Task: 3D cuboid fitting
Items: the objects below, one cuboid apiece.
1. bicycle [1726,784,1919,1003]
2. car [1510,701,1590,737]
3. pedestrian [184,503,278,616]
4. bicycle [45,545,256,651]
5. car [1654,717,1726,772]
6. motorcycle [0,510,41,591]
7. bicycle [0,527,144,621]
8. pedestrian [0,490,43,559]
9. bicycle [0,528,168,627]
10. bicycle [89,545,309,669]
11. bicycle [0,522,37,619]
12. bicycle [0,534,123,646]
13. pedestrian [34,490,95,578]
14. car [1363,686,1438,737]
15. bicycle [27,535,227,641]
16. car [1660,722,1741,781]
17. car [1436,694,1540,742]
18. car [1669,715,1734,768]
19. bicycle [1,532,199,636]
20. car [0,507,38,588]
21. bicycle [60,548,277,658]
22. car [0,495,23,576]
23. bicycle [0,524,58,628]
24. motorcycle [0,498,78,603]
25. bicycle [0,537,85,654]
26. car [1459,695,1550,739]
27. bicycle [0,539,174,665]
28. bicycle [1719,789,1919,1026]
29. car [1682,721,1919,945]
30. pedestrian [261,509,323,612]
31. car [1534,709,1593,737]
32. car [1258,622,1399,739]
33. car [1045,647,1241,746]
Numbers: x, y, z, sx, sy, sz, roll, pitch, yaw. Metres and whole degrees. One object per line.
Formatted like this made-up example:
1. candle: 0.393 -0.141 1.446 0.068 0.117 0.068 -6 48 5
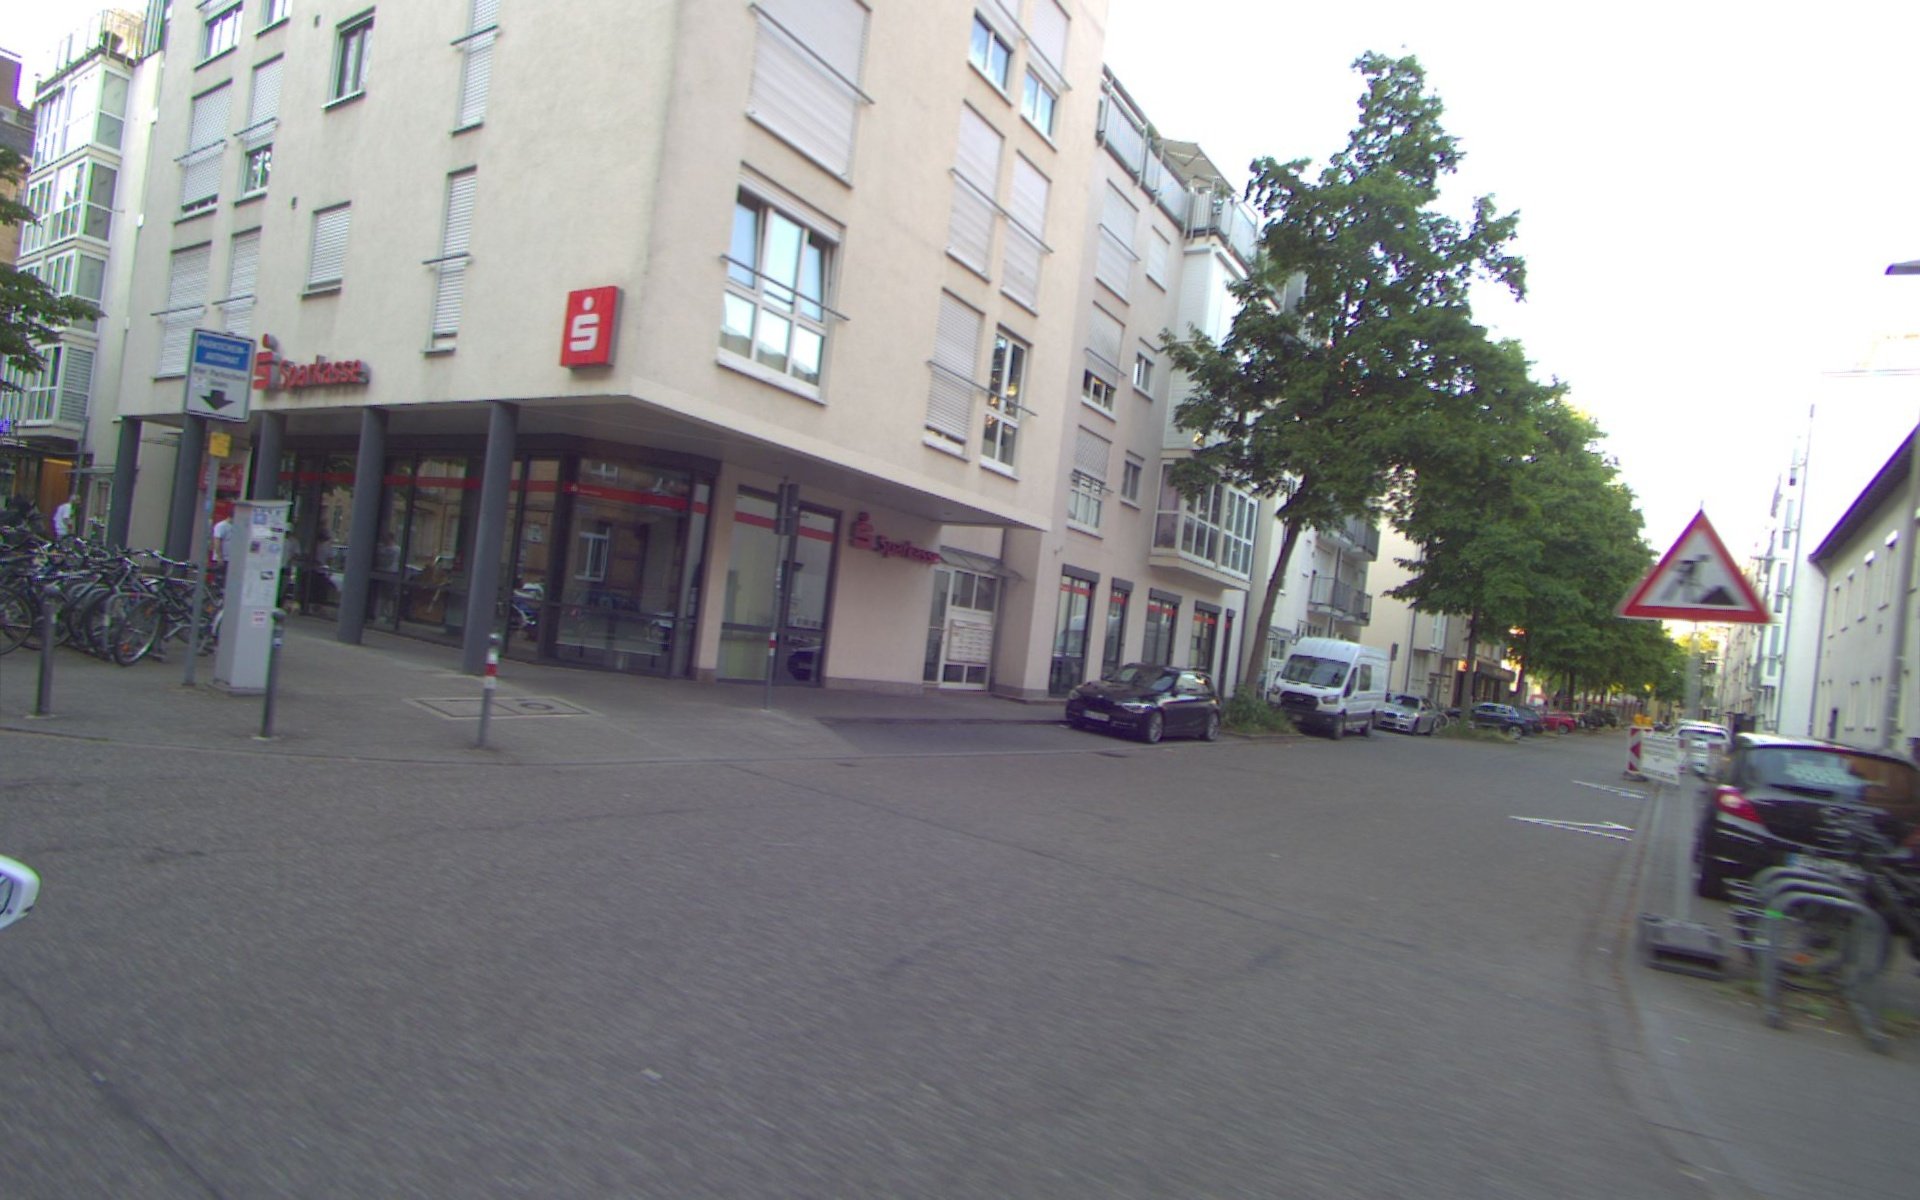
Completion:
1. bicycle: 5.747 1.812 6.056 1.732 1.080 0.562 4 -1 39
2. car: 38.016 7.659 64.949 3.924 1.703 1.949 6 -2 15
3. pedestrian: -12.189 -0.679 16.846 0.898 1.746 0.774 6 2 -9
4. bicycle: -9.186 0.006 11.477 0.644 1.067 1.721 6 0 37
5. car: 25.918 5.105 35.673 1.848 1.613 3.741 5 -3 38
6. motorcycle: -17.569 -0.940 17.590 0.705 1.387 2.059 7 1 30
7. bicycle: -12.070 -0.339 13.385 0.643 1.132 1.724 6 0 31
8. pedestrian: -25.308 -2.031 27.032 0.948 1.738 0.727 6 1 34
9. bicycle: -11.459 -0.271 13.028 0.643 1.132 1.724 6 0 31
10. bicycle: -7.850 0.100 10.473 0.568 1.146 1.727 5 0 22
11. bicycle: -12.617 -0.415 12.301 0.732 1.198 1.865 6 2 39
12. bicycle: -10.166 -0.129 10.671 0.695 1.132 1.810 6 0 32
13. pedestrian: -19.203 -1.415 21.571 0.577 1.773 0.628 5 -2 23
14. car: 16.181 4.081 36.851 1.740 1.558 4.092 5 -3 34
15. bicycle: -10.061 -0.116 12.206 0.644 1.132 1.721 6 0 37
16. car: 22.558 4.561 30.628 1.783 1.436 4.120 5 -3 37
17. car: 24.473 5.450 46.764 3.926 1.703 1.948 5 -2 20
18. car: 29.143 5.530 39.492 1.819 1.756 3.734 5 -3 39
19. bicycle: -10.580 -0.172 12.434 0.644 1.132 1.721 6 0 37
20. car: -19.672 -1.153 17.901 1.749 1.474 4.430 6 0 28
21. bicycle: -8.663 0.059 11.074 0.644 1.067 1.721 6 0 37
22. car: -21.654 -1.529 19.785 1.718 1.668 4.400 6 0 33
23. bicycle: -11.798 -0.320 11.788 0.724 1.198 1.782 6 2 44
24. motorcycle: -15.355 -0.827 15.505 0.811 1.569 2.490 5 1 37
25. bicycle: -9.801 -0.080 9.825 0.695 1.132 1.723 6 0 32
26. car: 28.156 6.025 52.010 3.934 1.703 1.944 5 -3 32
27. bicycle: -8.827 0.025 9.765 0.696 1.132 1.721 6 0 37
28. bicycle: 5.405 1.755 5.489 1.935 1.080 0.562 4 -1 39
29. car: 7.906 1.998 9.445 1.679 1.493 3.670 5 -2 35
30. pedestrian: -12.012 -0.706 18.112 0.656 1.745 0.659 7 1 -21
31. car: 48.944 9.986 81.583 3.934 1.703 1.944 5 -3 32
32. car: 10.866 2.425 29.236 2.042 2.766 6.771 9 -1 34
33. car: 3.647 1.877 19.463 1.765 1.451 4.230 10 1 39
